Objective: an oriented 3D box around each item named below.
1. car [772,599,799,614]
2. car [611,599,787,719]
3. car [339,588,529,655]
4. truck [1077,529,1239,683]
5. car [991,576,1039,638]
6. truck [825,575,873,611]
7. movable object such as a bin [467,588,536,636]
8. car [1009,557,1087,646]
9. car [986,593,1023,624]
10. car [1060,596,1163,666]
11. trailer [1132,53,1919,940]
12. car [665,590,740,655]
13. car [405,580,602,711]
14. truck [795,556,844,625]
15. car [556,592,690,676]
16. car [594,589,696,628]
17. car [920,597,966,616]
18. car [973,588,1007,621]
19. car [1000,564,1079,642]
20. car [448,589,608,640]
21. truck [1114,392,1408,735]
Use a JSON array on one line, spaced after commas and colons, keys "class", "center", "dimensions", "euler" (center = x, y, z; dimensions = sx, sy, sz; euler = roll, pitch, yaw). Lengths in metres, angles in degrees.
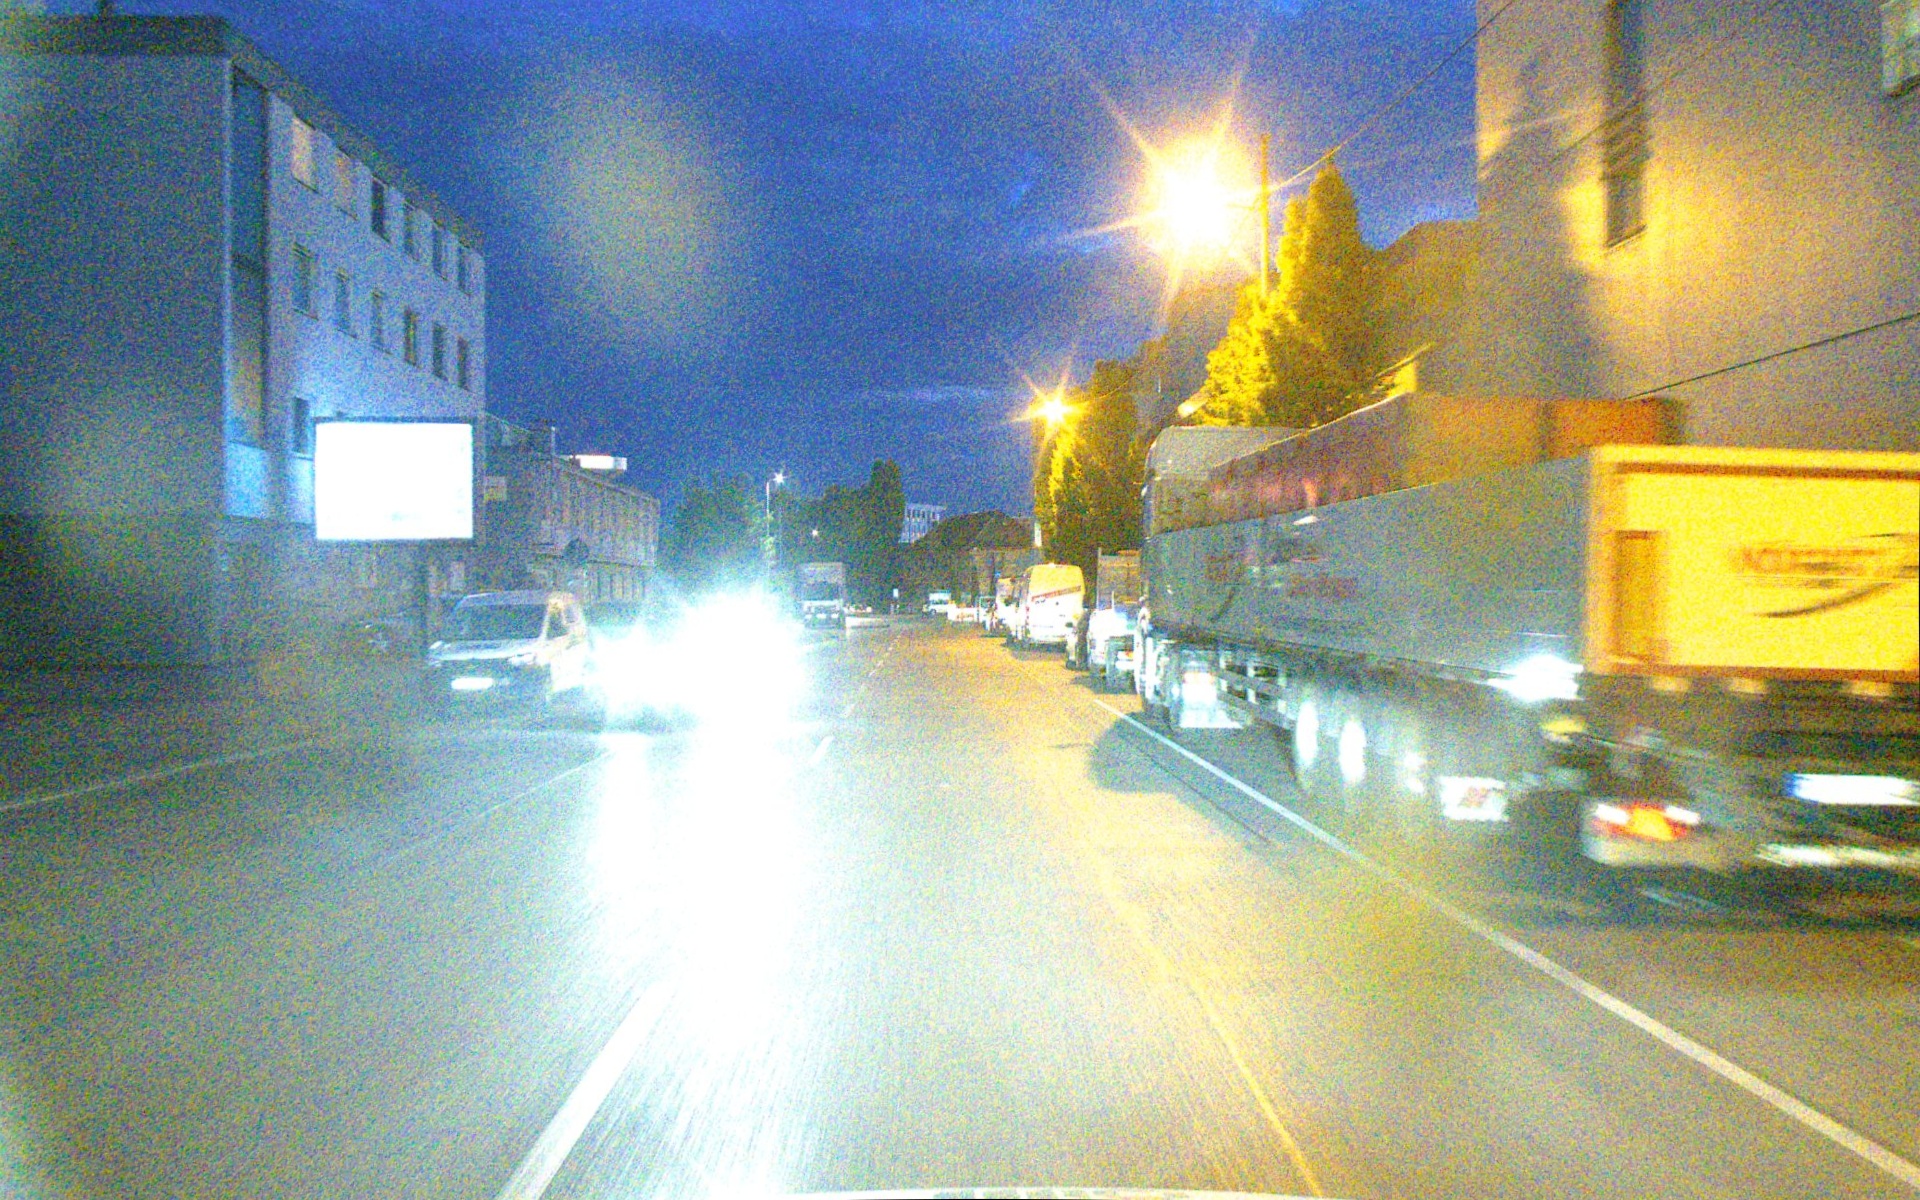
[{"class": "car", "center": [-17.403, 0.626, 164.690], "dimensions": [1.787, 1.395, 4.337], "euler": [0, 0, -19]}, {"class": "car", "center": [-3.497, 0.741, 22.887], "dimensions": [1.783, 1.462, 4.397], "euler": [0, 0, -1]}, {"class": "car", "center": [-13.255, 0.517, 41.709], "dimensions": [4.346, 1.587, 1.983], "euler": [0, 0, -26]}, {"class": "truck", "center": [3.620, 0.086, 31.571], "dimensions": [2.352, 2.639, 6.597], "euler": [0, 0, 0]}, {"class": "car", "center": [2.426, 0.275, 73.926], "dimensions": [1.952, 2.570, 5.910], "euler": [2, 0, 1]}, {"class": "truck", "center": [-12.523, -0.750, 185.296], "dimensions": [2.717, 3.849, 9.076], "euler": [-1, 0, -22]}, {"class": "movable object such as a bin", "center": [-14.970, 0.390, 54.113], "dimensions": [1.819, 1.526, 1.609], "euler": [0, 0, -1]}, {"class": "car", "center": [2.751, 0.039, 53.229], "dimensions": [1.953, 2.616, 6.012], "euler": [2, 0, -1]}, {"class": "car", "center": [2.309, 0.423, 86.832], "dimensions": [1.906, 1.515, 5.011], "euler": [0, 0, 1]}, {"class": "car", "center": [3.448, 0.670, 38.568], "dimensions": [1.793, 1.432, 4.907], "euler": [2, 0, -1]}, {"class": "trailer", "center": [3.753, -0.411, 14.534], "dimensions": [2.709, 3.829, 14.652], "euler": [1, 0, -1]}, {"class": "car", "center": [-7.836, 0.670, 50.713], "dimensions": [1.777, 1.881, 4.412], "euler": [0, 0, -2]}, {"class": "car", "center": [-6.924, 0.626, 25.623], "dimensions": [1.767, 1.830, 4.877], "euler": [0, 0, -1]}, {"class": "truck", "center": [-8.700, -0.557, 103.270], "dimensions": [2.691, 4.104, 9.554], "euler": [0, 0, -3]}, {"class": "car", "center": [-7.340, 0.686, 36.533], "dimensions": [1.907, 1.718, 4.816], "euler": [0, 0, 1]}, {"class": "car", "center": [-14.187, 0.362, 74.615], "dimensions": [4.042, 1.457, 1.898], "euler": [4, 1, 17]}, {"class": "car", "center": [-1.736, 0.638, 168.554], "dimensions": [4.269, 1.675, 1.879], "euler": [-3, 1, -24]}, {"class": "car", "center": [1.898, 0.283, 105.863], "dimensions": [1.953, 2.049, 4.910], "euler": [-1, 0, -1]}, {"class": "car", "center": [2.799, 0.080, 59.839], "dimensions": [2.086, 2.616, 5.904], "euler": [2, 0, -4]}, {"class": "car", "center": [-13.011, 0.407, 49.878], "dimensions": [4.355, 1.465, 1.775], "euler": [0, 0, -31]}, {"class": "truck", "center": [3.649, -0.403, 21.287], "dimensions": [2.709, 3.829, 5.227], "euler": [1, 0, -1]}]
